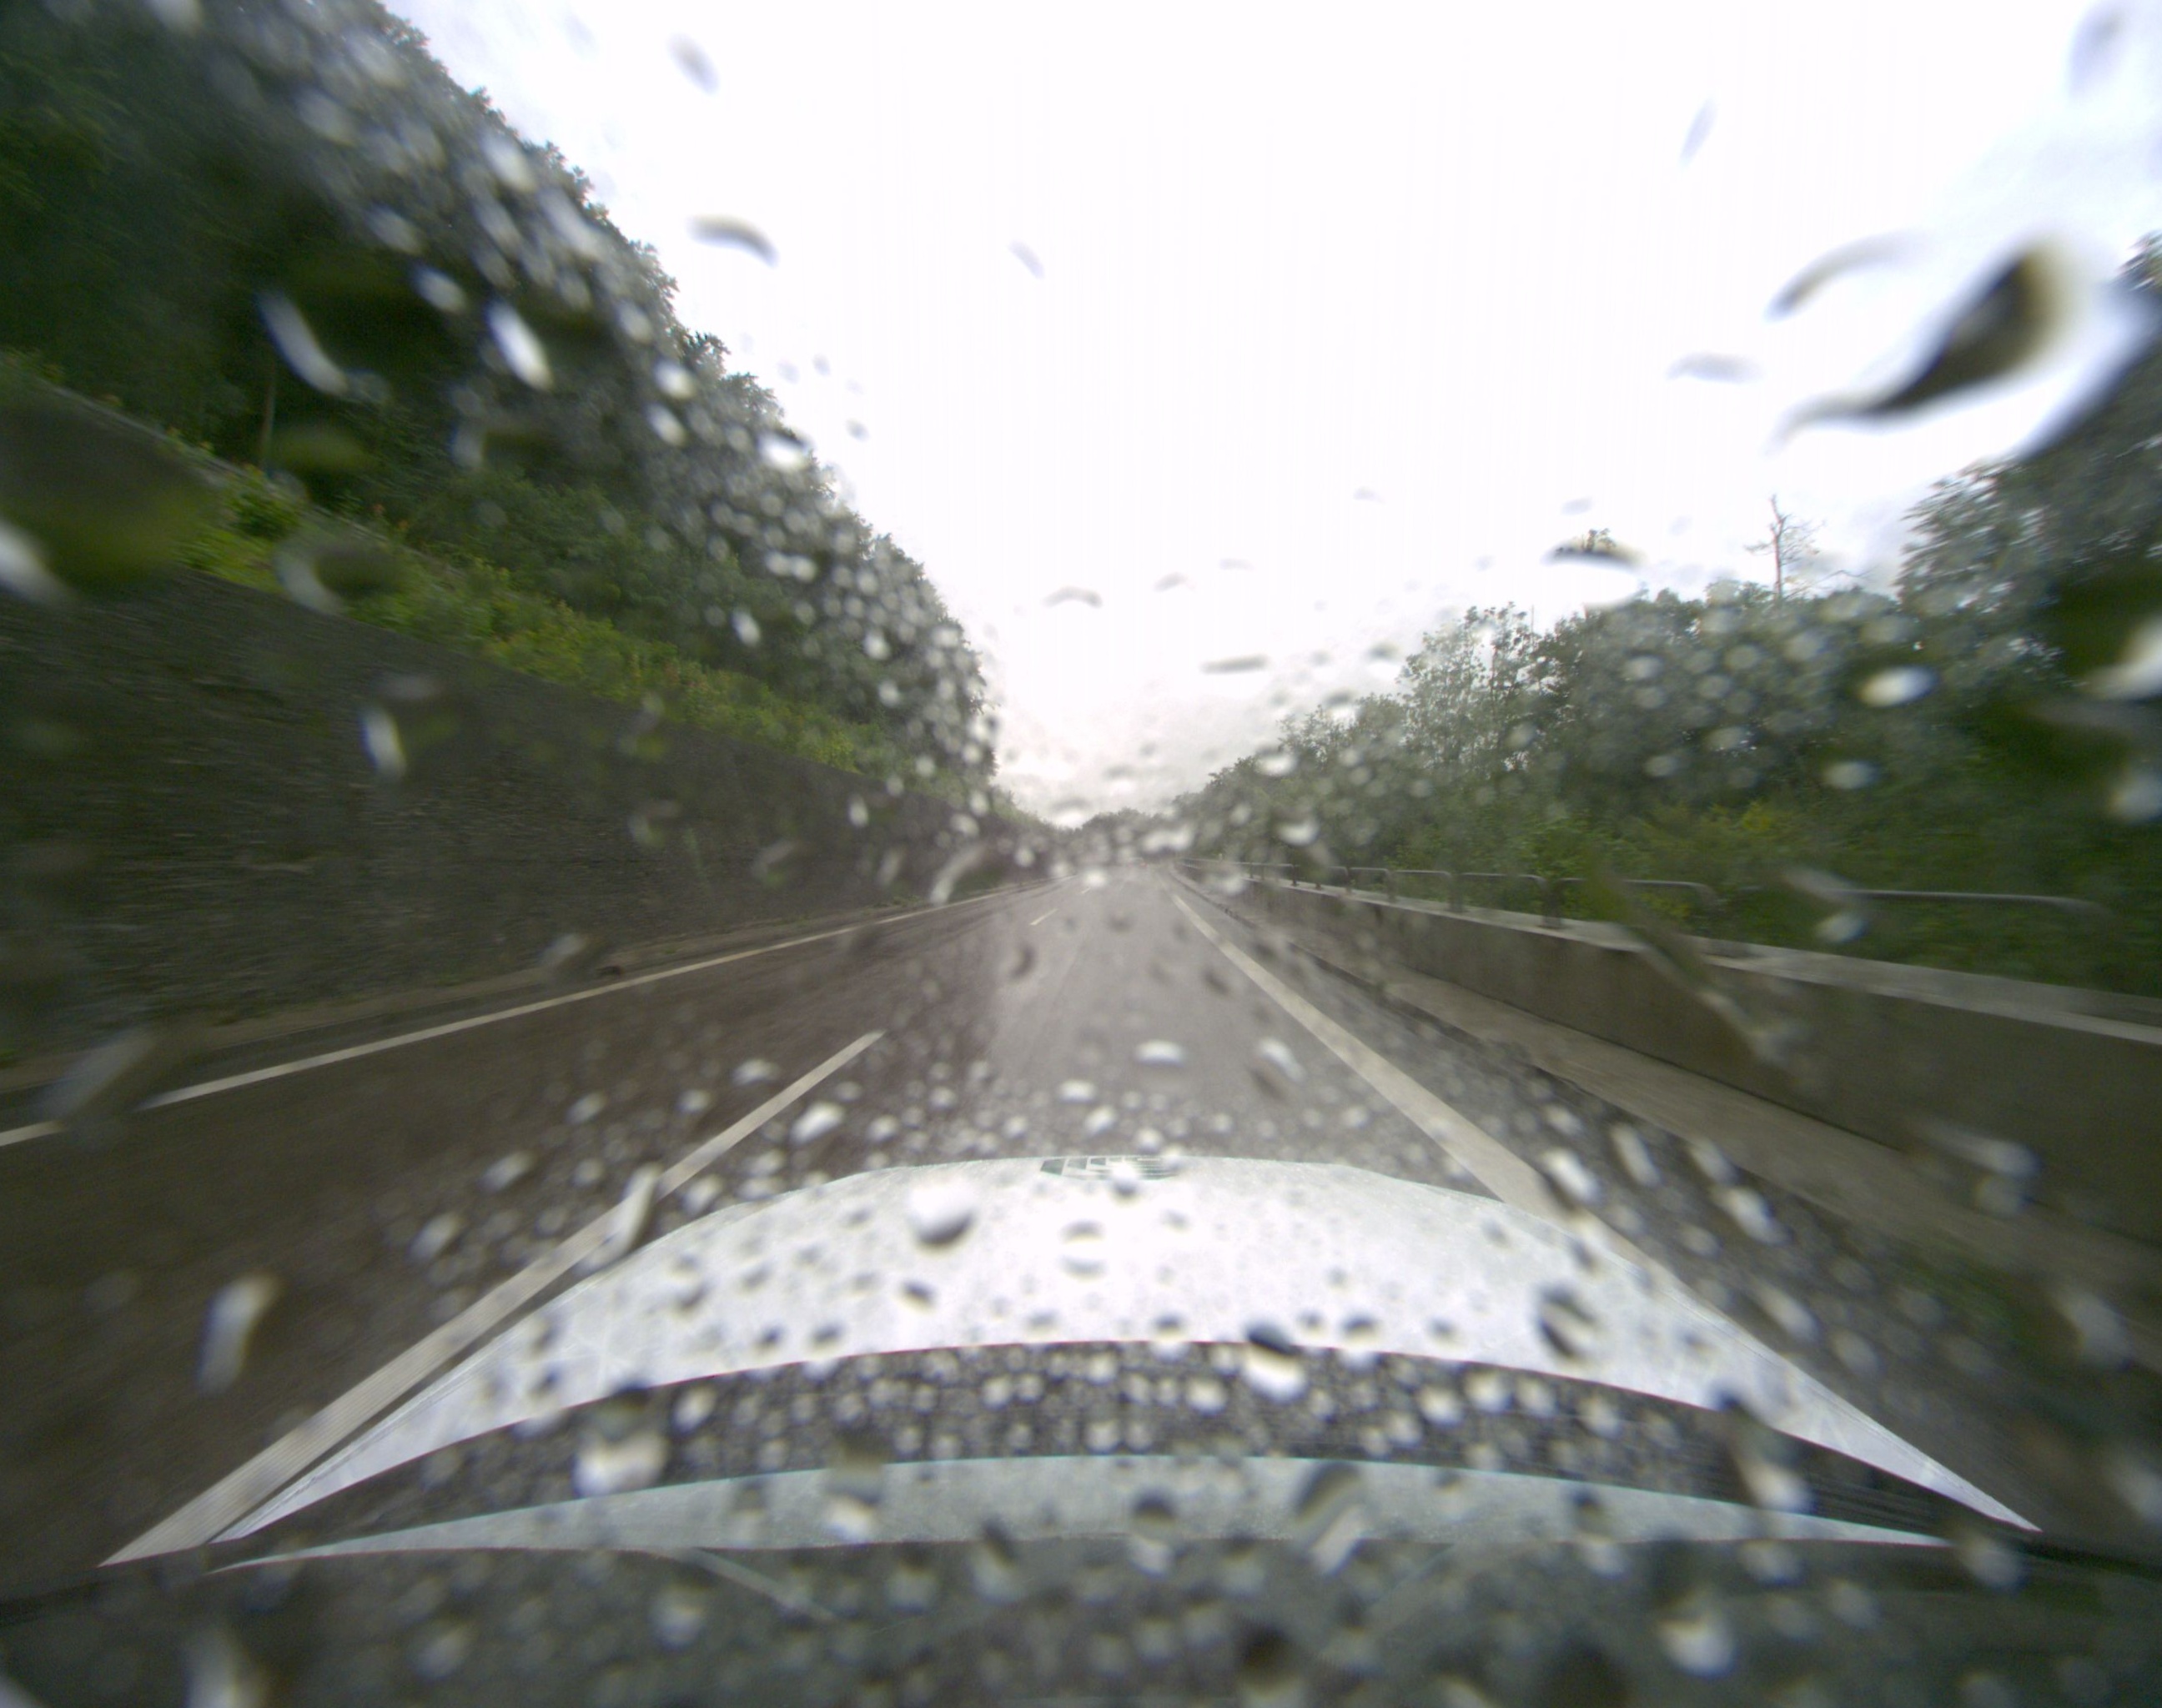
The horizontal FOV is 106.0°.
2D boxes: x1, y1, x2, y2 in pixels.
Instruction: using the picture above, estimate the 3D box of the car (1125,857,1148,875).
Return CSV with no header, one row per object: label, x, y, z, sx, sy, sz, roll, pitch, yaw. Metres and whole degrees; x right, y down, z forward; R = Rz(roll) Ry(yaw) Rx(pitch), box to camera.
car,4.897,1.024,72.480,1.896,1.499,4.003,-2,0,3
